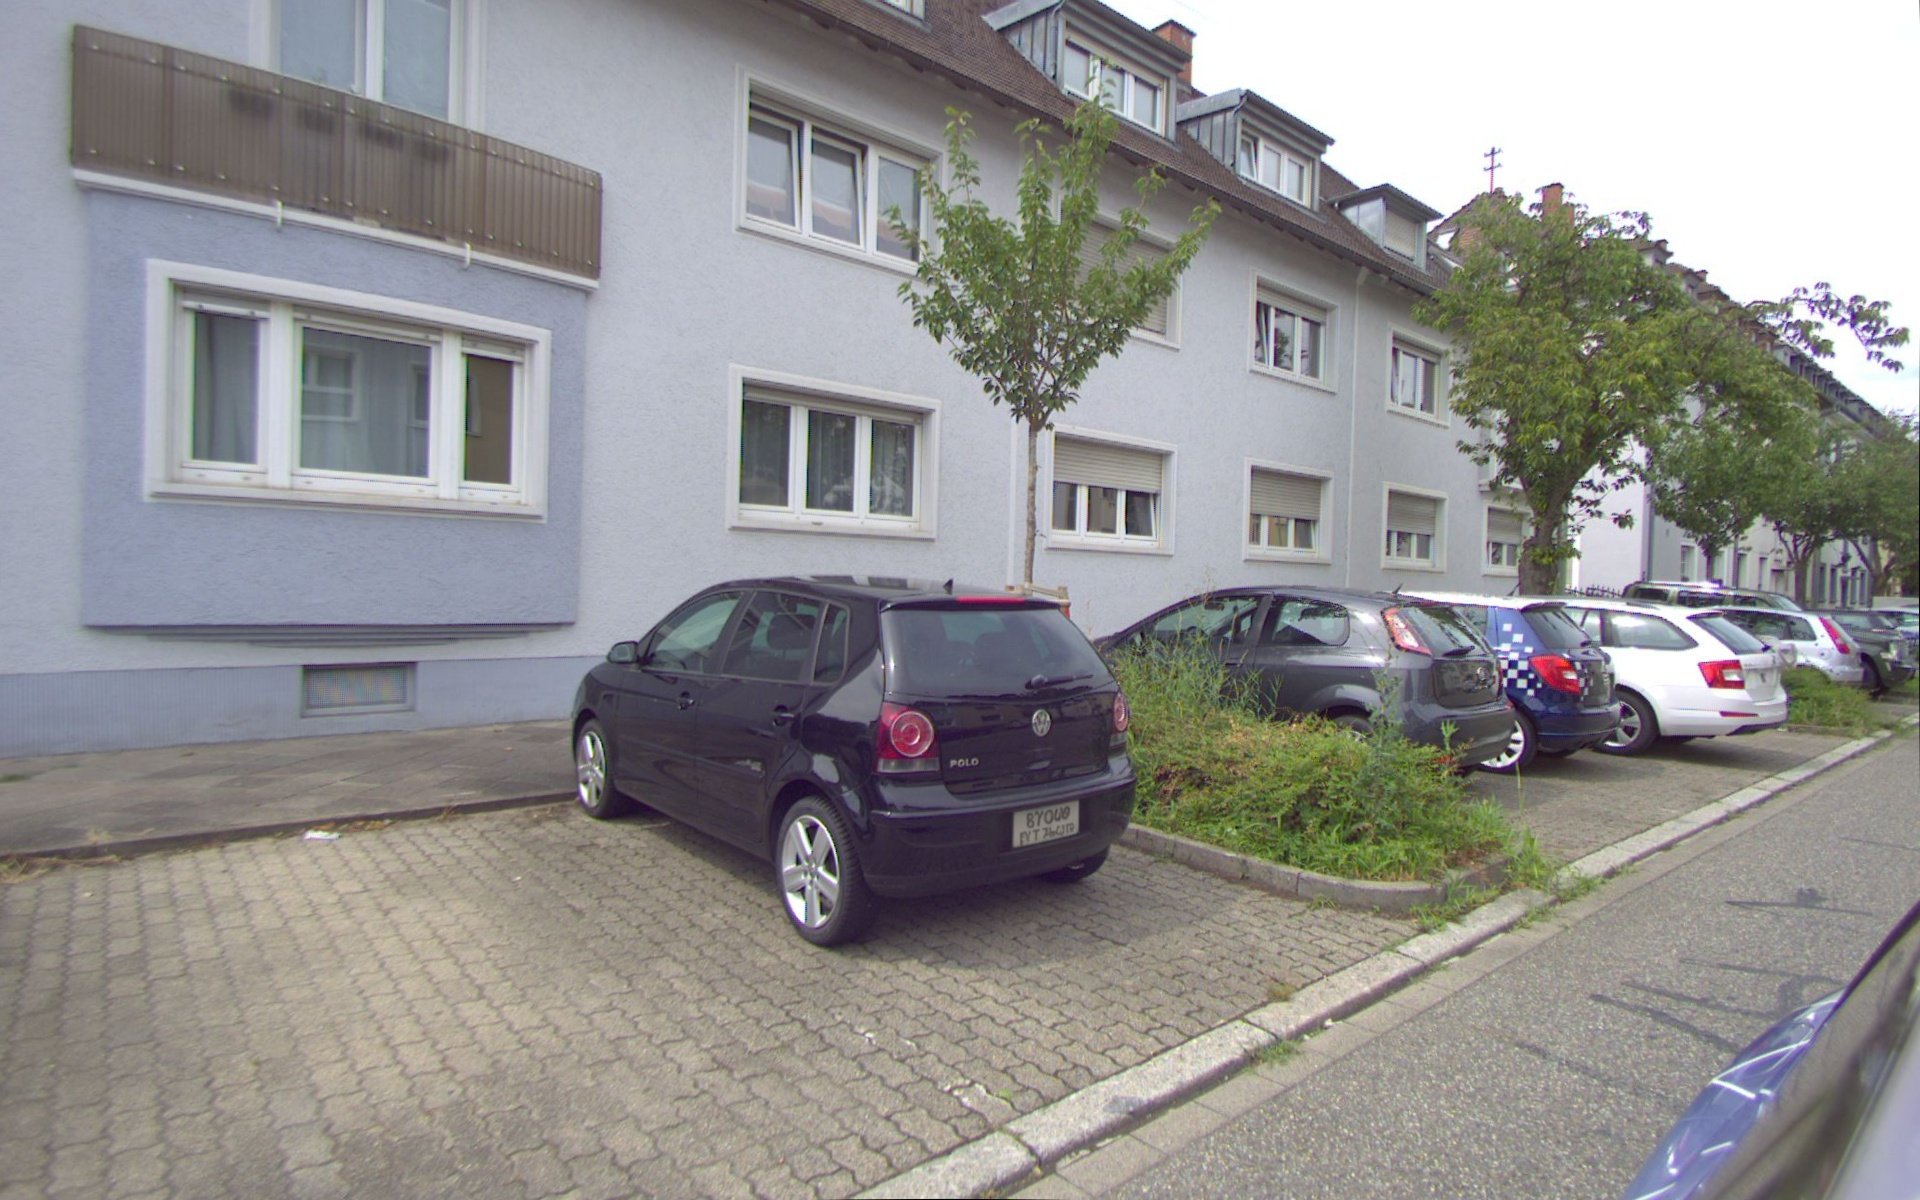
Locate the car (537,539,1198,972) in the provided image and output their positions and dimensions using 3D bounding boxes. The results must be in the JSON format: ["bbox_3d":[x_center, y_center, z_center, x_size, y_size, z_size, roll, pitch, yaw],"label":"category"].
[{"bbox_3d":[-0.853,0.459,5.624,1.682,1.439,3.998,0,4,-39],"label":"car"}]

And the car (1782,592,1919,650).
[{"bbox_3d":[27.357,0.603,30.429,1.831,1.459,3.759,0,4,-38],"label":"car"}]

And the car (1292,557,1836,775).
[{"bbox_3d":[6.184,0.482,10.925,1.858,1.684,4.628,1,3,-38],"label":"car"}]

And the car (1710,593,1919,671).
[{"bbox_3d":[20.221,0.690,23.982,1.777,1.470,3.552,0,4,-40],"label":"car"}]

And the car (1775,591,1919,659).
[{"bbox_3d":[24.204,0.658,26.643,1.738,1.548,3.994,0,4,-42],"label":"car"}]

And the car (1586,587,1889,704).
[{"bbox_3d":[12.575,0.635,16.509,1.743,1.472,3.630,0,4,-43],"label":"car"}]

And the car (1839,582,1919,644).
[{"bbox_3d":[29.929,0.463,30.942,1.868,1.756,4.229,1,3,-37],"label":"car"}]

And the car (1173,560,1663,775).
[{"bbox_3d":[4.239,0.466,9.927,1.682,1.526,3.998,0,4,-39],"label":"car"}]

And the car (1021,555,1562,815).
[{"bbox_3d":[2.514,0.478,8.517,1.682,1.526,3.998,0,4,-39],"label":"car"}]

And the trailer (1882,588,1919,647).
[{"bbox_3d":[31.856,0.647,32.540,1.374,1.853,2.972,1,3,-36],"label":"trailer"}]

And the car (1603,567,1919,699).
[{"bbox_3d":[14.429,0.462,18.117,1.759,1.880,4.541,1,3,-37],"label":"car"}]

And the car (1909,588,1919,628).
[{"bbox_3d":[43.077,0.487,42.637,1.868,1.698,4.229,1,3,-37],"label":"car"}]

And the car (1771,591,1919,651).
[{"bbox_3d":[25.871,0.595,28.885,1.738,1.427,3.994,0,4,-42],"label":"car"}]

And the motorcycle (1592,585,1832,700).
[{"bbox_3d":[11.102,0.563,15.045,1.014,1.482,2.704,1,2,-43],"label":"motorcycle"}]
